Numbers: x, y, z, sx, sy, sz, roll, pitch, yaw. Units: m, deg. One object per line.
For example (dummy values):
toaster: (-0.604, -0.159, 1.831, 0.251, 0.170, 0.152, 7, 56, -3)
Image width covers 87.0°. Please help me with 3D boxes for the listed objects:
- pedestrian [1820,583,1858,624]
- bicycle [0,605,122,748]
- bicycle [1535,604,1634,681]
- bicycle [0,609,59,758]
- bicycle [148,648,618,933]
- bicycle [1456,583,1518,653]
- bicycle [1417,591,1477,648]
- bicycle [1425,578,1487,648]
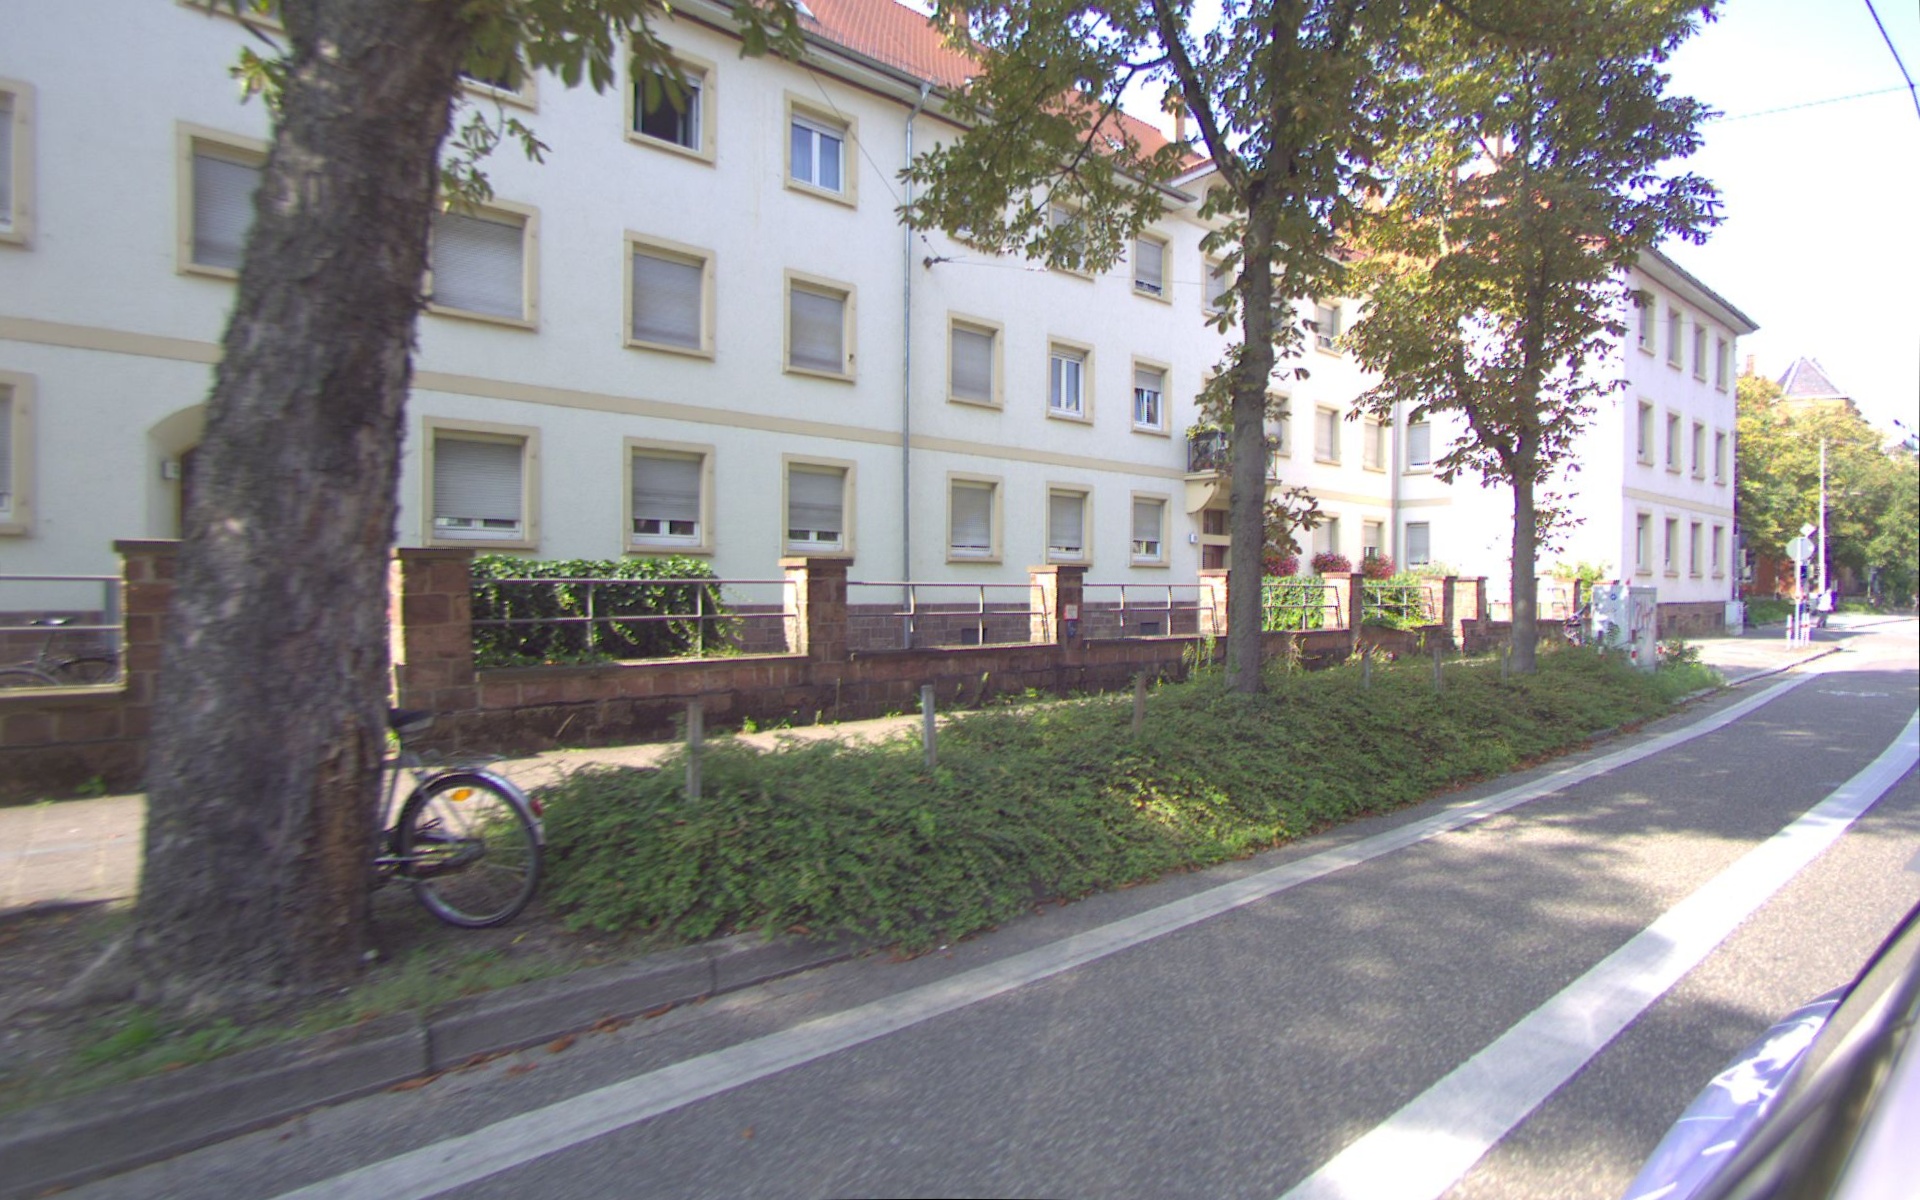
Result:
pedestrian: (39.404, 0.133, 45.365, 0.953, 1.745, 1.079, 0, 3, -41)
bicycle: (-7.677, 0.599, 7.938, 1.698, 1.087, 0.524, -1, 0, -40)
bicycle: (9.948, 0.633, 16.085, 2.294, 1.118, 0.772, 0, 1, -43)
bicycle: (-7.616, 0.621, 7.262, 1.698, 1.087, 0.524, -1, 0, -40)
bicycle: (-2.369, 0.761, 4.249, 1.696, 1.087, 0.525, 0, 0, 2)
bicycle: (11.382, 0.370, 21.847, 1.707, 1.473, 0.455, 0, -1, -36)
bicycle: (10.867, 0.418, 22.570, 1.707, 1.231, 0.455, 0, -1, -36)
bicycle: (10.781, 0.275, 21.991, 1.707, 1.473, 0.455, 0, -1, -36)
